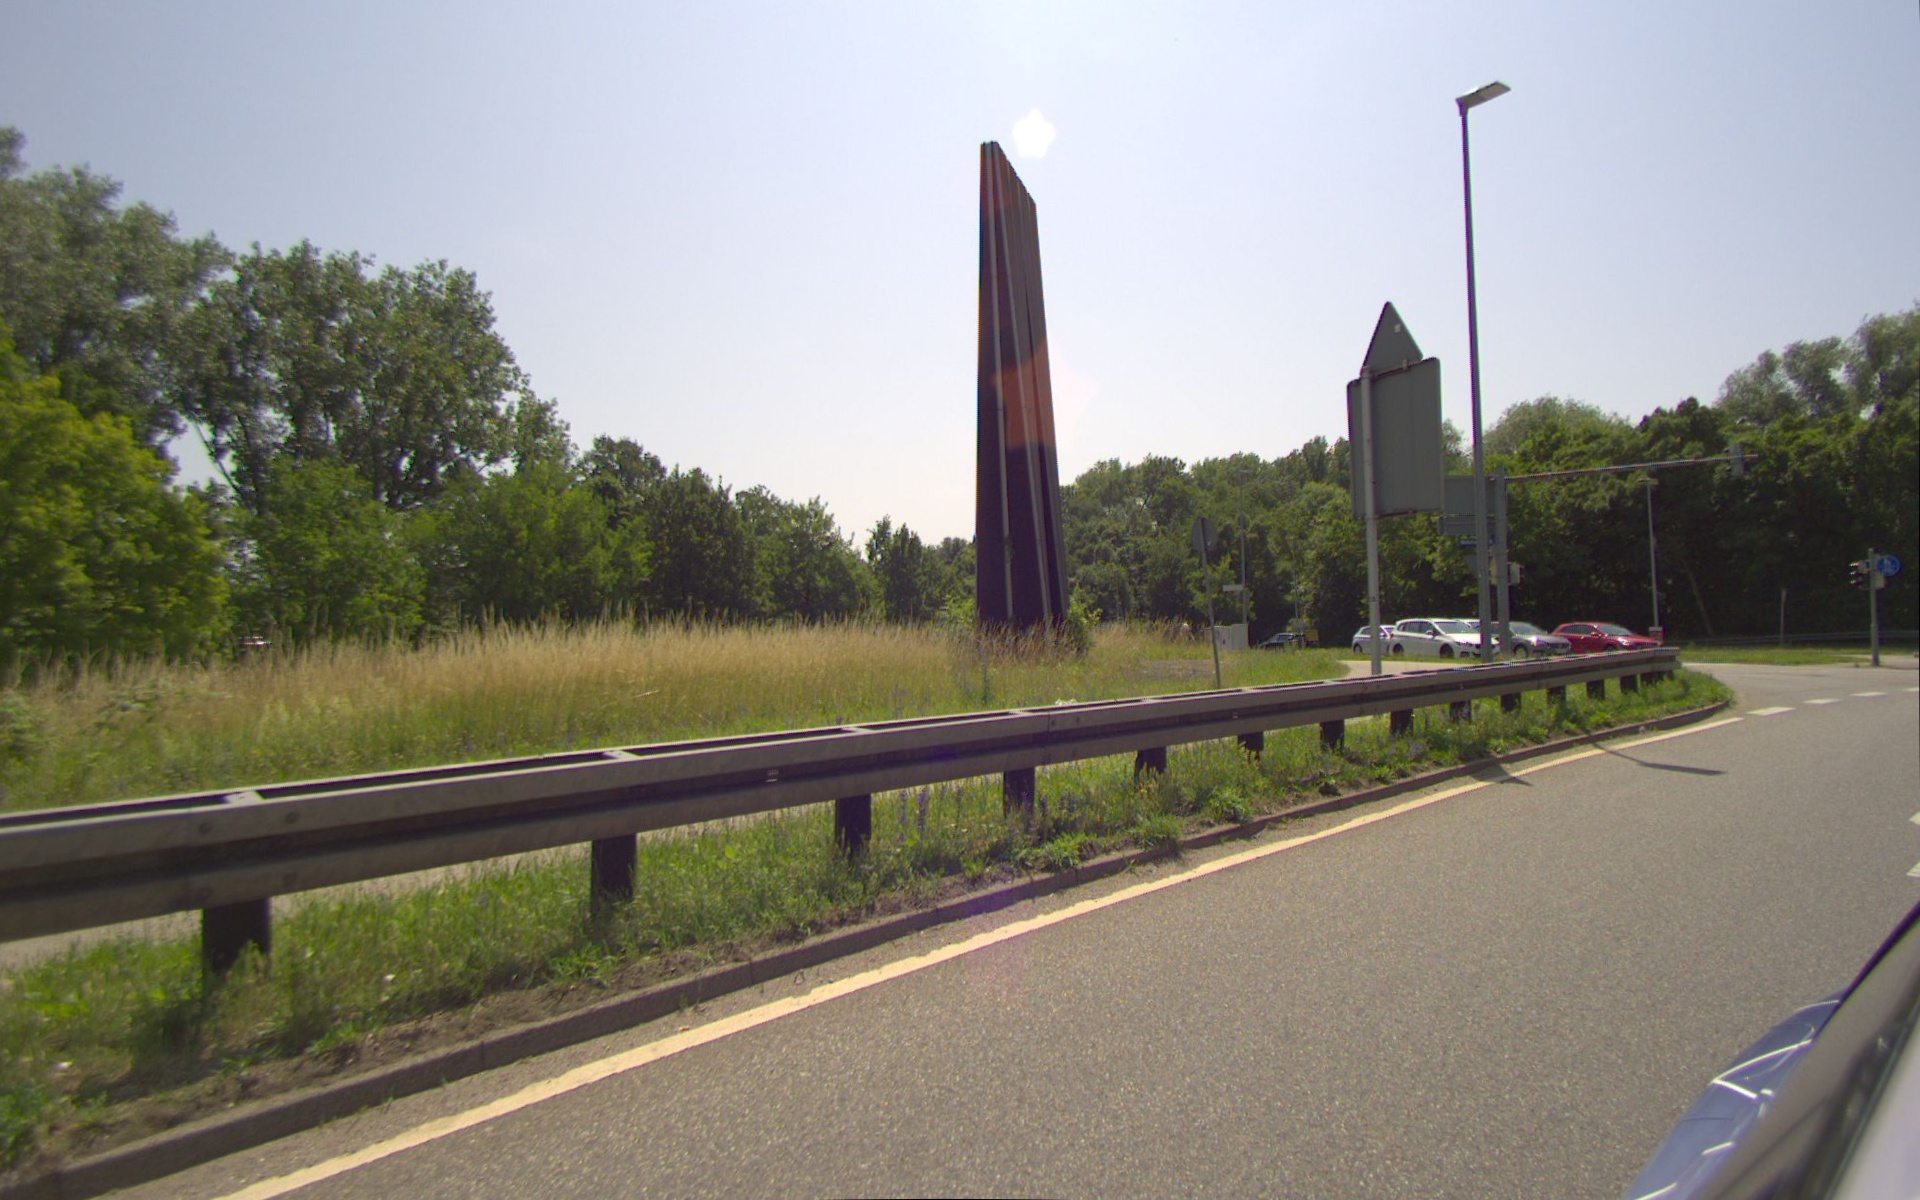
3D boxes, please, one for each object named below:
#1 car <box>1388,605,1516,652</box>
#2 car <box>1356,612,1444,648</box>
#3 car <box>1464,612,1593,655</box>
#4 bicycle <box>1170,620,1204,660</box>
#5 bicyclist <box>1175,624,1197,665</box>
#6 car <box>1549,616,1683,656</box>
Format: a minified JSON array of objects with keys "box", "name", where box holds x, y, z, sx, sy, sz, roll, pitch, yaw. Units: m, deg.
[{"box":[17.099,0.955,35.414,1.829,1.525,4.303,0,-1,-10],"name":"car"},{"box":[18.970,1.269,43.818,1.550,1.448,4.006,0,-1,-10],"name":"car"},{"box":[20.570,1.168,36.815,1.829,1.442,4.192,0,-1,-10],"name":"car"},{"box":[9.213,1.603,41.180,0.643,1.594,2.376,0,-1,-5],"name":"bicycle"},{"box":[9.220,1.810,41.276,0.657,1.619,0.692,0,-1,-5],"name":"bicyclist"},{"box":[23.937,1.276,37.140,1.718,1.372,4.192,0,-1,-10],"name":"car"}]
